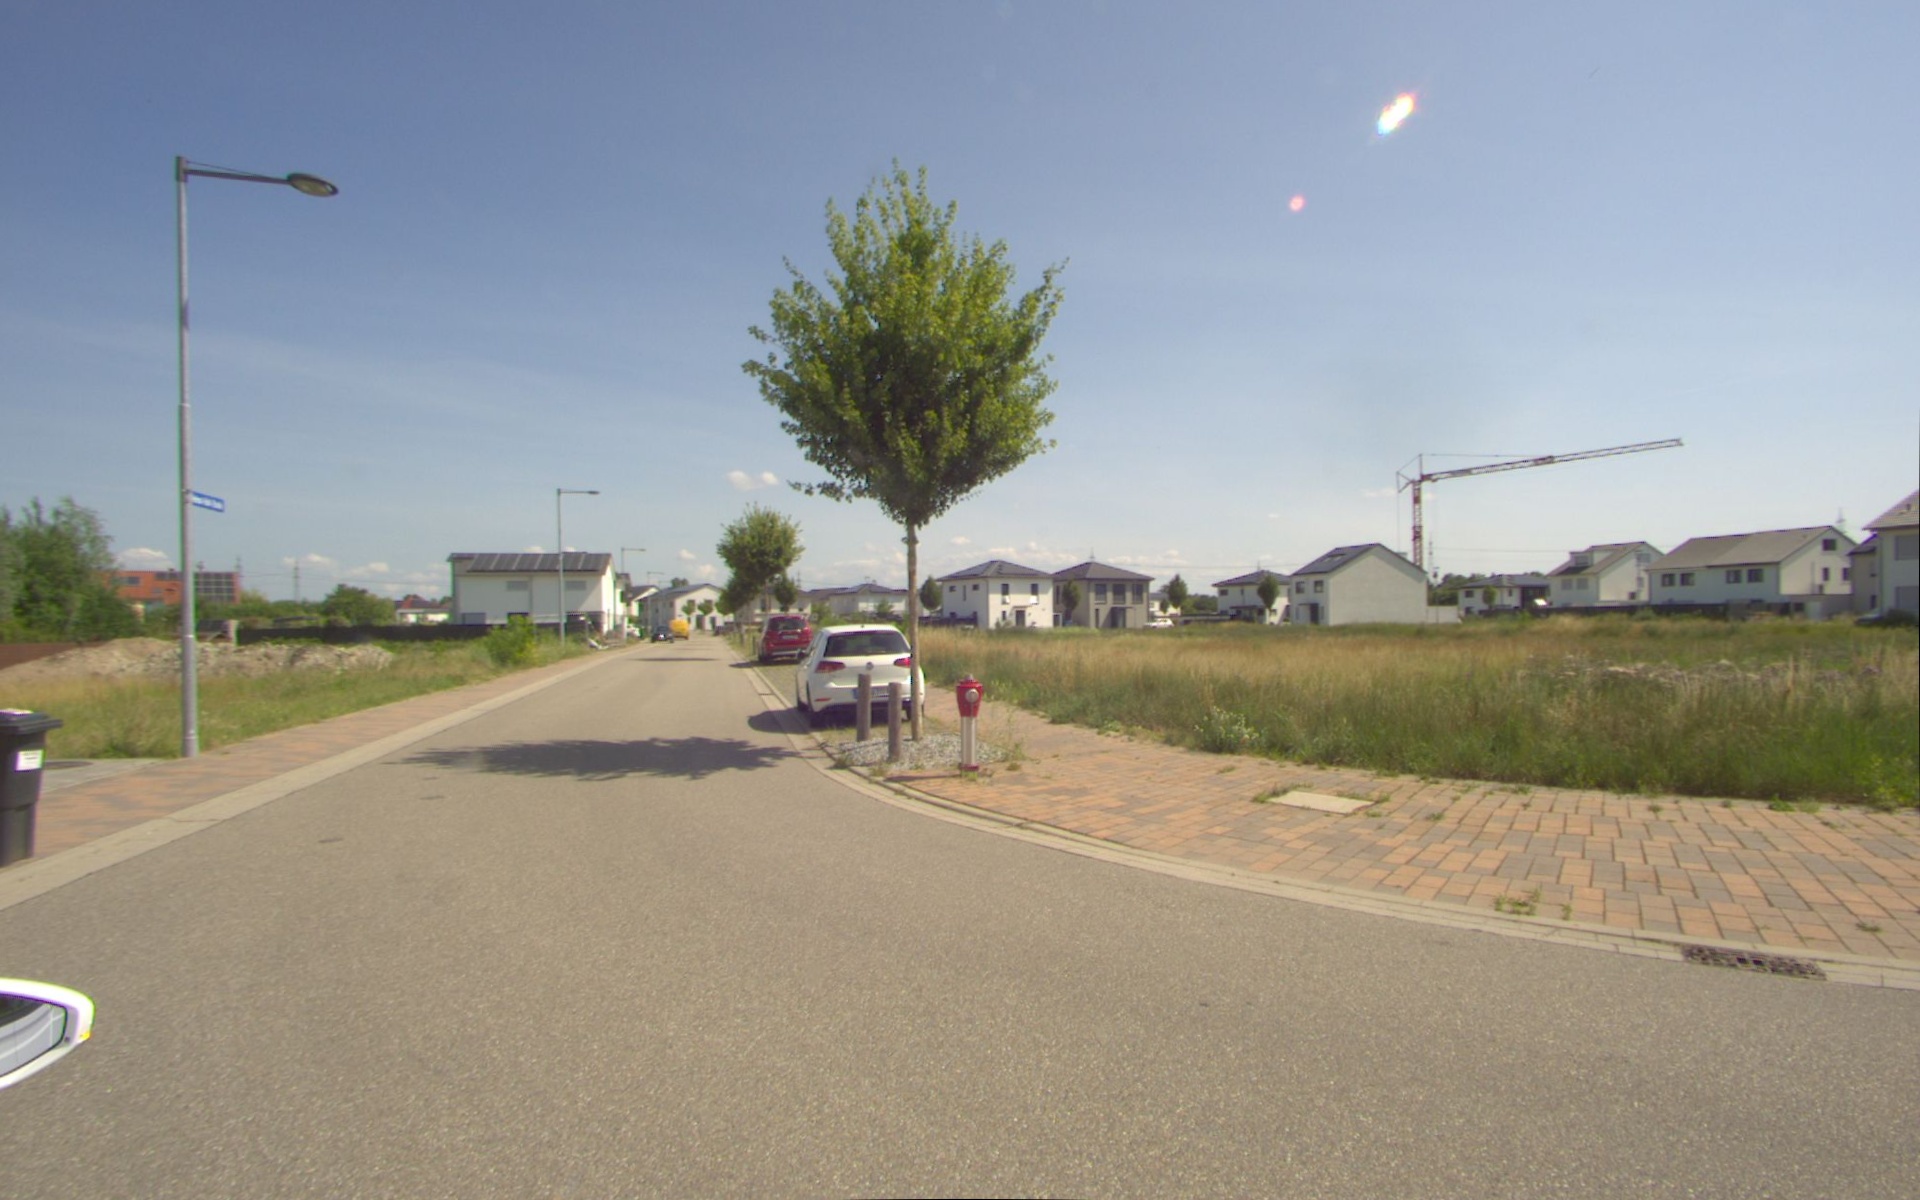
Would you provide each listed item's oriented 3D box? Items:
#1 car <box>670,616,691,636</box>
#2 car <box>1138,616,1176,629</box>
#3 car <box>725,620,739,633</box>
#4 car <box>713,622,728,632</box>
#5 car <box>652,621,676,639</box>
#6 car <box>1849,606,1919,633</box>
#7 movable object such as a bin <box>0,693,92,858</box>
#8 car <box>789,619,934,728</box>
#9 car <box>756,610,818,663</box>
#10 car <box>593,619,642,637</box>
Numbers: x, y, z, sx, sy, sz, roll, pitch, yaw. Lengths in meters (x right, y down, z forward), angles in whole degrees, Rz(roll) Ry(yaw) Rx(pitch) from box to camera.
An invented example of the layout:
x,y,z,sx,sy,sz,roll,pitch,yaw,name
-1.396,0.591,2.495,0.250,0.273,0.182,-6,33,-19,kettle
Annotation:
x,y,z,sx,sy,sz,roll,pitch,yaw,name
-29.019,2.692,103.853,1.914,2.006,4.210,0,-2,-18,car
22.098,2.497,112.286,3.940,1.416,1.743,0,-2,-28,car
-28.416,3.308,124.670,1.615,1.420,3.808,0,-3,-15,car
-34.021,3.852,142.429,1.605,1.338,3.827,0,-3,-21,car
-24.868,2.504,84.304,1.719,1.423,4.155,2,-2,-14,car
56.367,1.159,60.625,3.925,1.594,1.814,0,-1,-11,car
-5.907,1.080,6.232,0.614,0.960,0.499,0,-1,-19,movable object such as a bin
-1.741,1.081,16.391,1.748,1.438,4.160,-2,0,-14,car
-6.155,1.221,35.281,1.750,1.685,4.427,-2,0,-15,car
-31.879,2.575,93.208,4.004,1.602,1.783,1,0,-8,car
